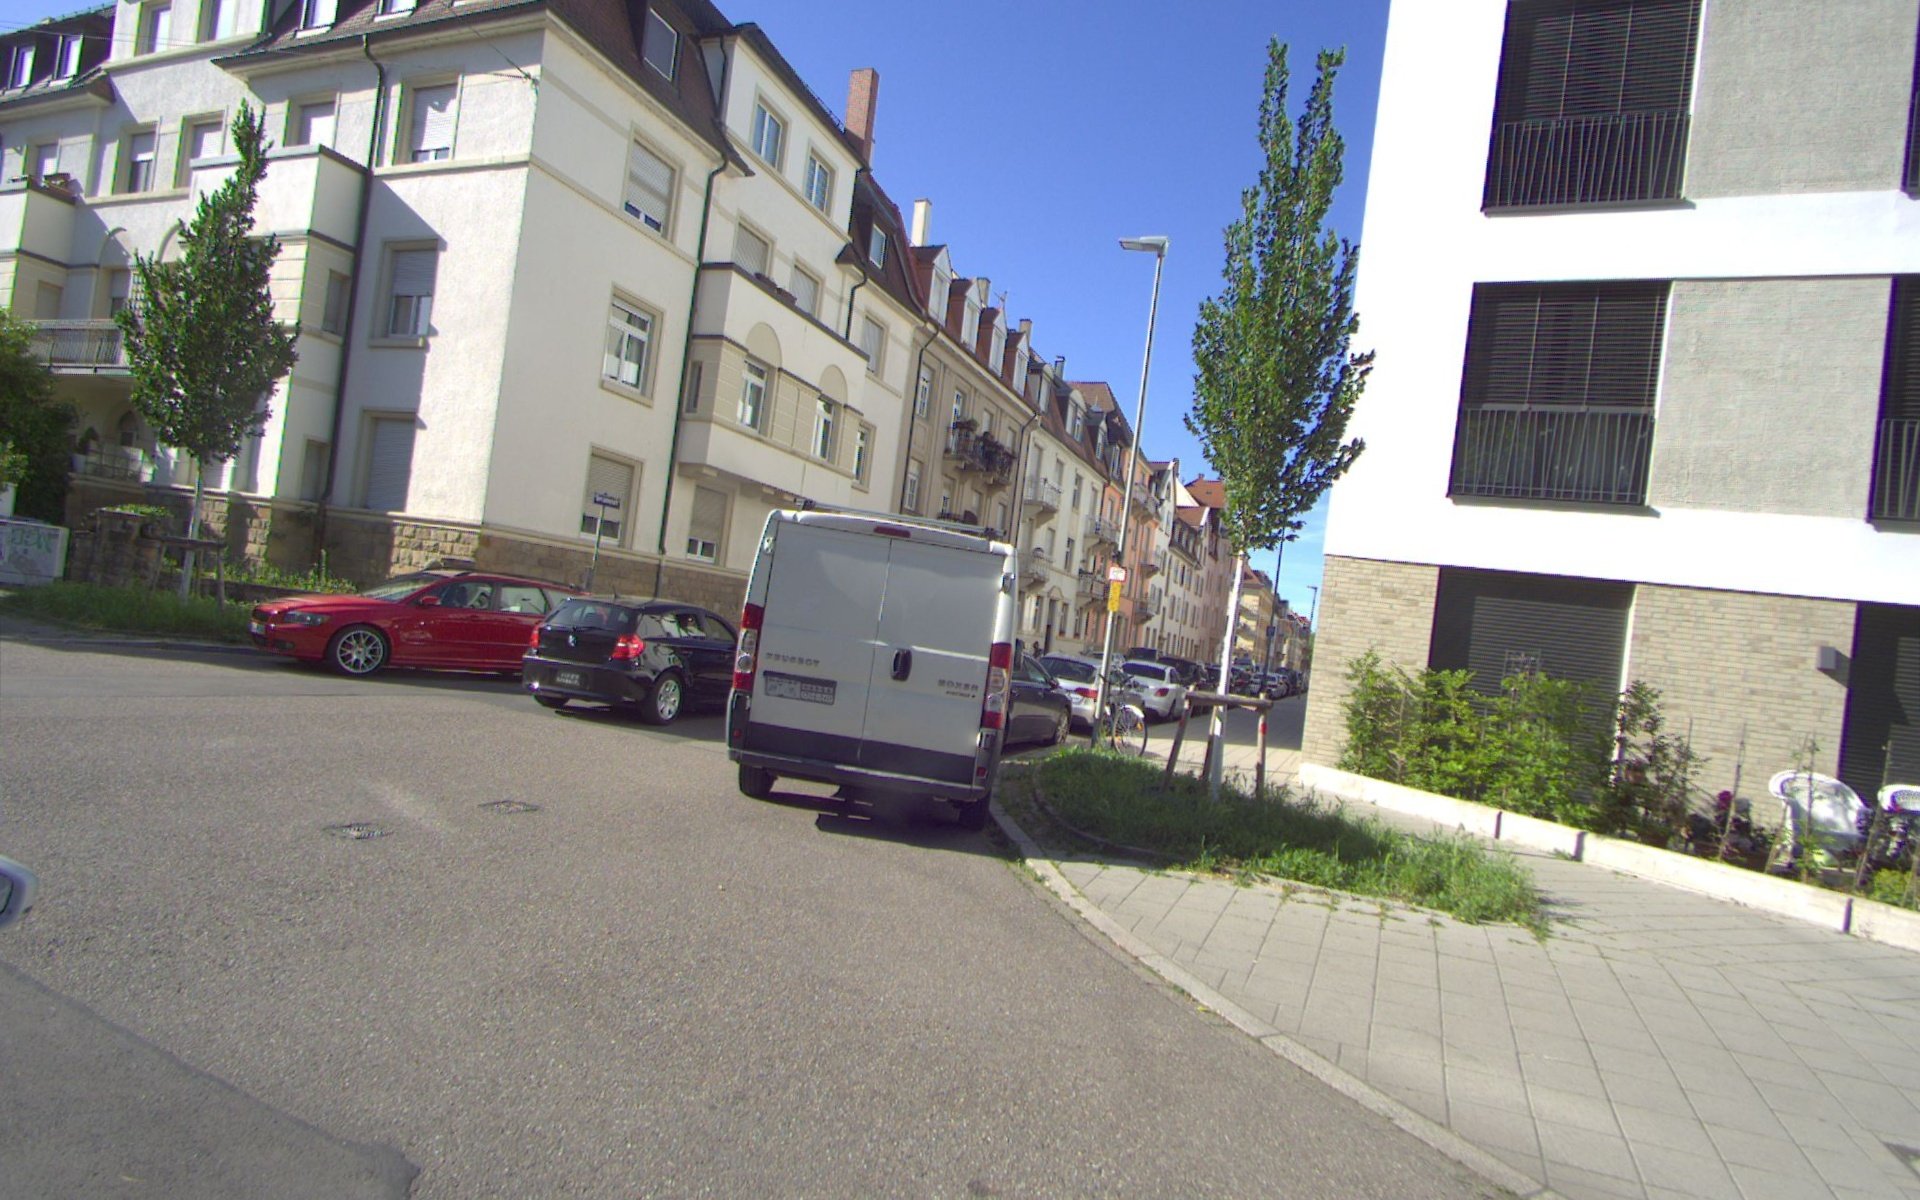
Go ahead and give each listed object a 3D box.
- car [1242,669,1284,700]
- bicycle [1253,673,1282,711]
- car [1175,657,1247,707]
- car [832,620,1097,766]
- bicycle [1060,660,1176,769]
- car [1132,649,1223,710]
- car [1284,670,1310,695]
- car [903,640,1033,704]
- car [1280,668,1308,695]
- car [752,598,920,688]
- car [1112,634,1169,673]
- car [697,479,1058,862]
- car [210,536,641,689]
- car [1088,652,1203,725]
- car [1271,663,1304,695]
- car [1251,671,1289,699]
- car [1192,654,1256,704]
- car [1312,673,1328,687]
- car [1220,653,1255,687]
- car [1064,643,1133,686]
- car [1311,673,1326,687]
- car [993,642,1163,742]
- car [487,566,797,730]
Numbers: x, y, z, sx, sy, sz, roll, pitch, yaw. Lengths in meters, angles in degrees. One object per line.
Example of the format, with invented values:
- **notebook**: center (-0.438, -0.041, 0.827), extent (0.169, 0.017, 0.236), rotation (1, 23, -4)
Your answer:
- **car**: center (17.964, 5.025, 59.556), extent (1.929, 1.486, 4.534), rotation (7, -3, 21)
- **bicycle**: center (11.601, 3.481, 37.940), extent (0.424, 1.338, 1.826), rotation (6, -2, 34)
- **car**: center (9.428, 3.092, 37.494), extent (1.929, 1.486, 4.534), rotation (7, -3, 21)
- **car**: center (0.319, 1.291, 14.548), extent (2.010, 1.487, 4.945), rotation (7, -1, 22)
- **bicycle**: center (2.071, 1.487, 13.494), extent (0.653, 1.187, 1.987), rotation (8, -2, -15)
- **car**: center (6.829, 2.503, 31.183), extent (1.929, 1.486, 4.534), rotation (7, -3, 21)
- **car**: center (31.933, 7.816, 95.135), extent (1.929, 2.022, 4.533), rotation (7, -3, 21)
- **car**: center (0.364, 2.148, 29.209), extent (1.794, 1.486, 4.945), rotation (7, -2, 25)
- **car**: center (29.687, 7.260, 89.359), extent (1.929, 2.022, 4.533), rotation (7, -3, 21)
- **car**: center (-2.687, 1.037, 22.797), extent (1.801, 1.660, 4.185), rotation (7, -1, 23)
- **car**: center (10.105, 3.024, 56.035), extent (2.057, 1.752, 4.819), rotation (7, -3, 22)
- **car**: center (-0.523, 0.549, 9.375), extent (2.193, 2.333, 5.059), rotation (7, -1, 1)
- **car**: center (-7.013, 0.270, 13.702), extent (1.924, 1.486, 4.718), rotation (6, -2, 38)
- **car**: center (4.973, 2.343, 26.376), extent (1.929, 1.486, 4.949), rotation (7, -3, 21)
- **car**: center (24.713, 5.994, 75.842), extent (1.929, 2.022, 4.533), rotation (7, -3, 21)
- **car**: center (20.075, 5.518, 65.090), extent (1.929, 1.486, 4.534), rotation (7, -3, 21)
- **car**: center (11.133, 3.361, 42.239), extent (1.929, 1.704, 4.534), rotation (7, -3, 21)
- **car**: center (55.293, 12.263, 154.395), extent (1.962, 1.878, 4.005), rotation (7, -2, 18)
- **car**: center (28.689, 7.289, 103.731), extent (2.529, 3.001, 6.222), rotation (7, -2, 22)
- **car**: center (6.358, 2.953, 45.683), extent (1.963, 1.569, 4.437), rotation (7, -3, 22)
- **car**: center (56.765, 12.677, 159.297), extent (1.962, 1.878, 4.005), rotation (7, -2, 18)
- **car**: center (2.532, 1.820, 20.213), extent (1.925, 1.445, 4.945), rotation (9, -1, 23)
- **car**: center (-3.763, 0.590, 12.740), extent (1.754, 1.542, 4.003), rotation (7, -1, 14)
